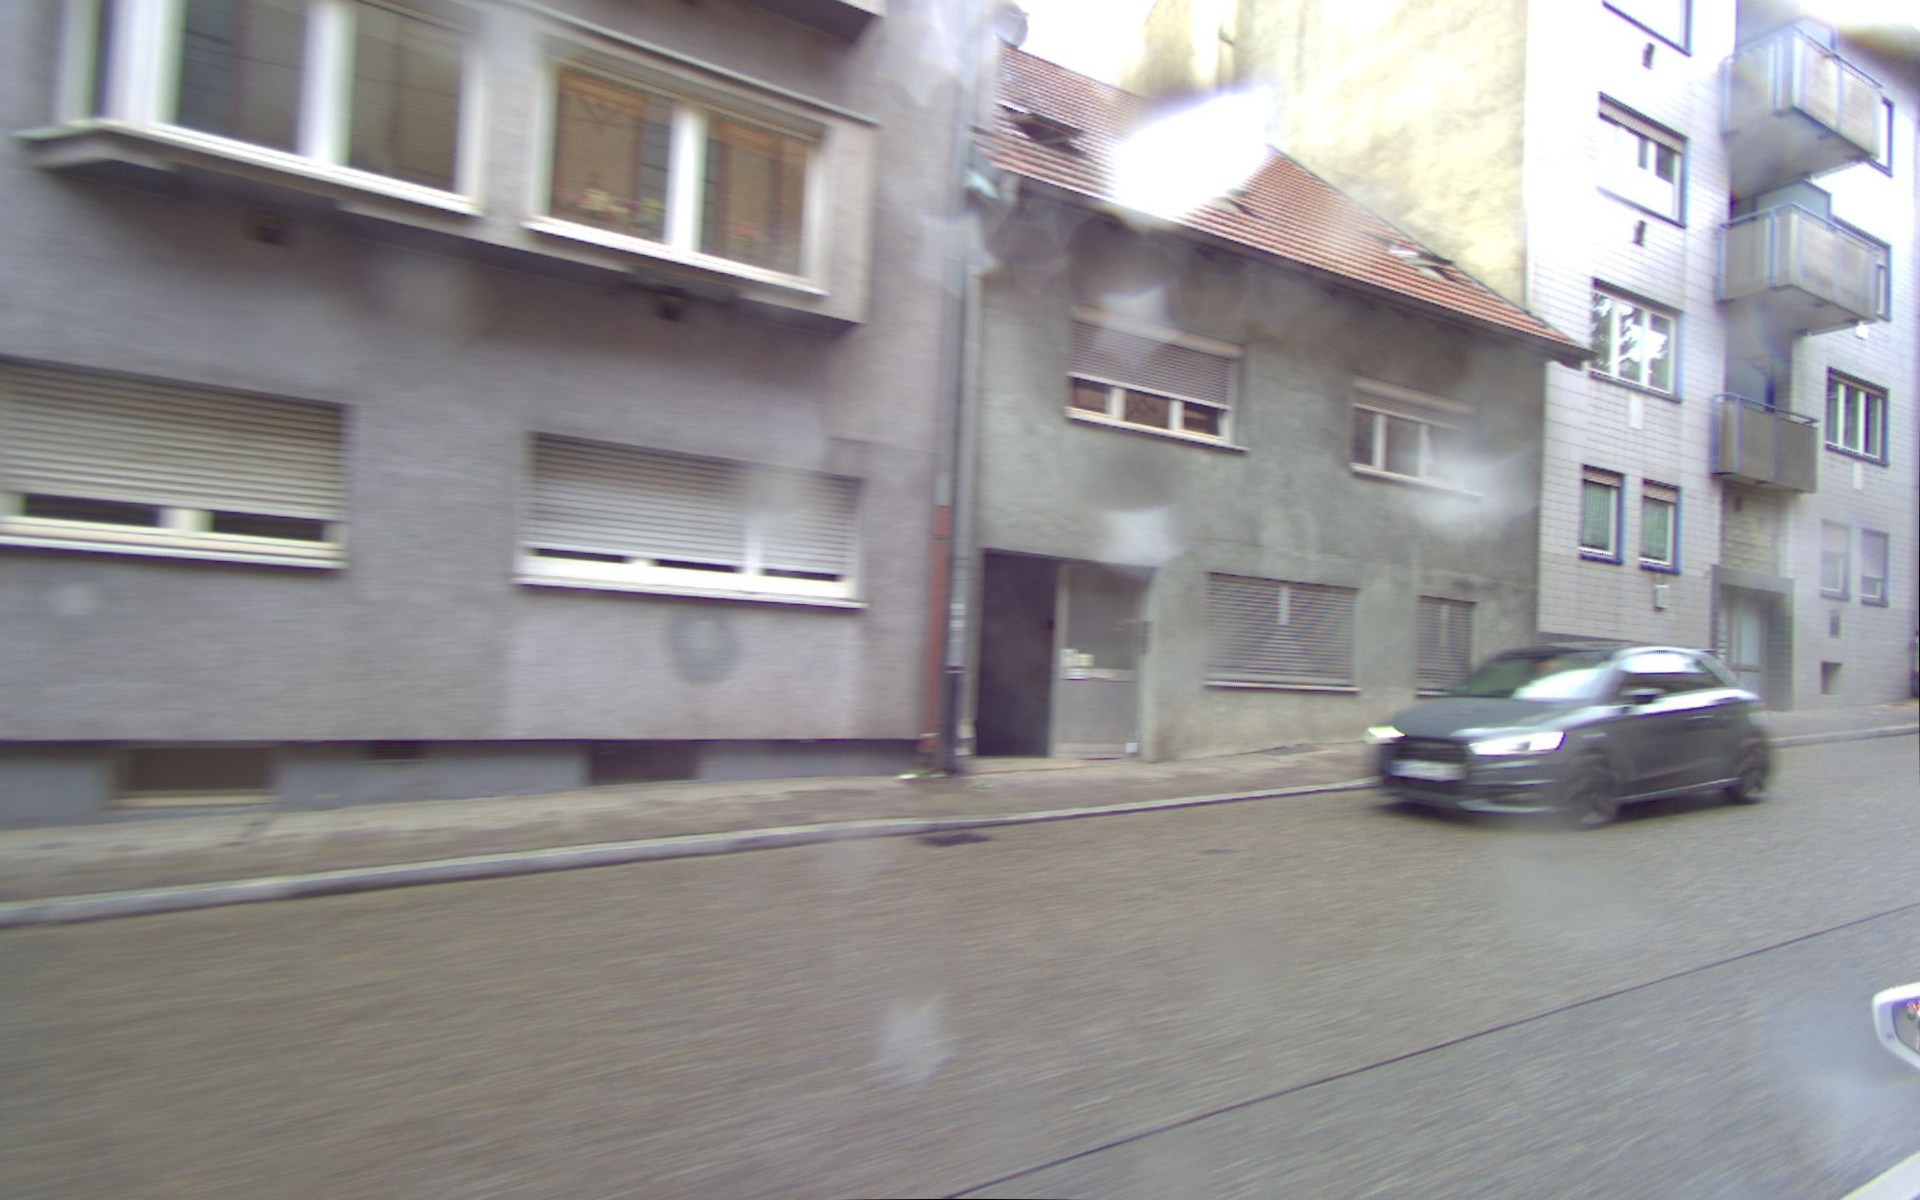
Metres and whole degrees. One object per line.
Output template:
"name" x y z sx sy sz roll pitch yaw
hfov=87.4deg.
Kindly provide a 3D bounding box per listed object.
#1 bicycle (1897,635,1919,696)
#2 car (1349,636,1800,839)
"bicycle" 18.812 1.234 19.380 1.777 1.122 0.497 0 0 -27
"car" 5.356 1.038 8.695 3.803 1.396 1.638 1 -3 -29
